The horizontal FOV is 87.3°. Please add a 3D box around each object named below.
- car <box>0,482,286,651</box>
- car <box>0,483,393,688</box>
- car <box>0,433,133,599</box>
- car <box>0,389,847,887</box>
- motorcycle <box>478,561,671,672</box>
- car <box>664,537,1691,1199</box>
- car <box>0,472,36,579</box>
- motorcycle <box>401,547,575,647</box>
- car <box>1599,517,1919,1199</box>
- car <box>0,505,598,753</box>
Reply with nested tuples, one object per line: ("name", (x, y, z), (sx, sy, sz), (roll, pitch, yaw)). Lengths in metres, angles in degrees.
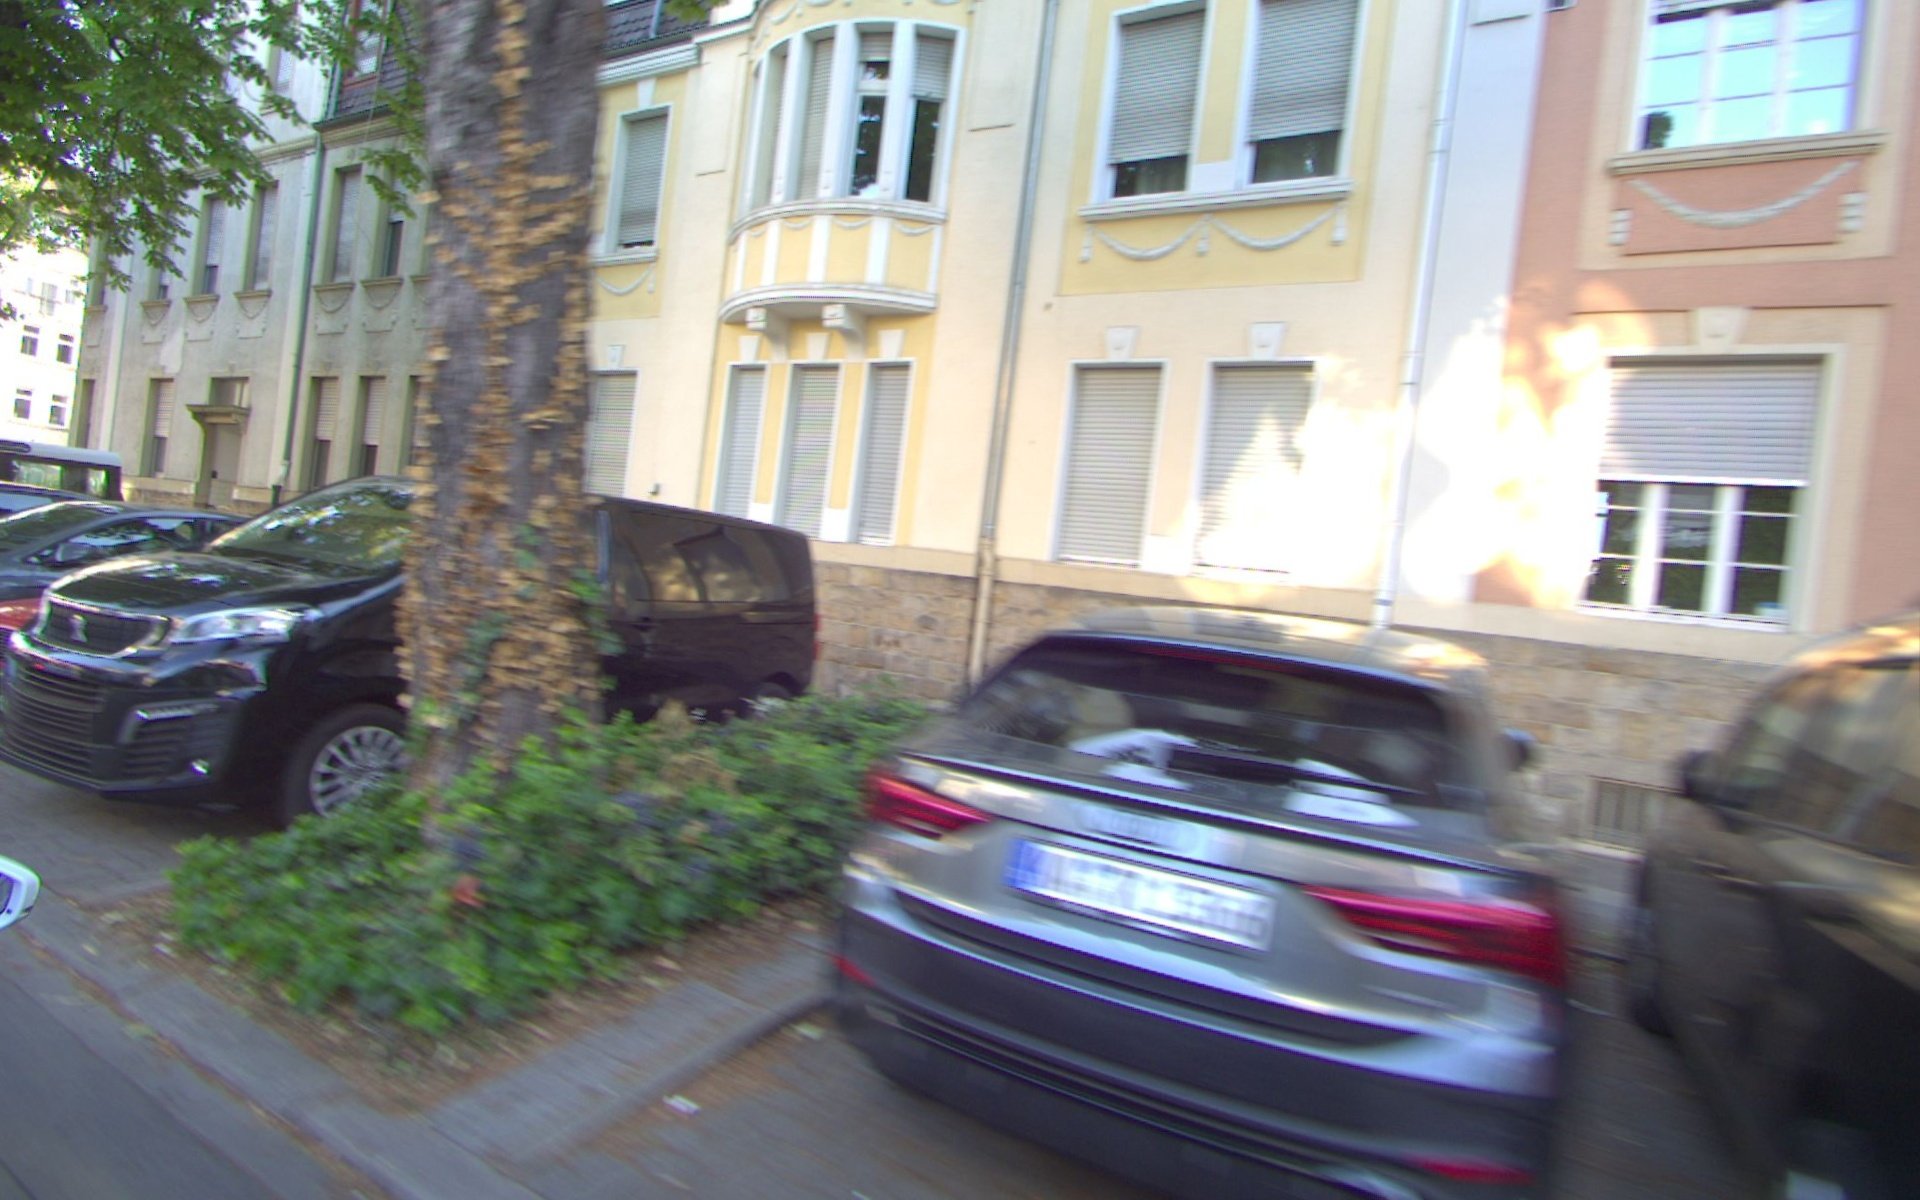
("car", (-8.982, -0.361, 9.673), (1.679, 1.470, 3.730), (7, 0, 27))
("car", (-7.249, -0.141, 8.380), (1.693, 1.470, 4.060), (7, 0, 27))
("car", (-13.538, -1.251, 12.636), (1.671, 2.061, 4.473), (7, 0, 27))
("car", (-2.872, 0.180, 6.399), (1.864, 1.898, 4.759), (7, 0, 26))
("motorcycle", (-4.981, 0.186, 12.939), (2.439, 1.087, 0.959), (8, 3, 31))
("car", (1.179, 0.833, 3.958), (1.812, 1.542, 4.518), (7, 0, 26))
("car", (-15.937, -1.306, 14.285), (1.679, 1.589, 3.730), (7, 0, 27))
("motorcycle", (-6.747, -0.066, 14.297), (2.821, 1.087, 0.694), (8, 3, 30))
("car", (3.121, 0.955, 2.745), (1.813, 1.860, 4.116), (7, 1, 28))
("car", (-5.021, 0.201, 7.772), (1.601, 1.332, 4.144), (7, 0, 26))
